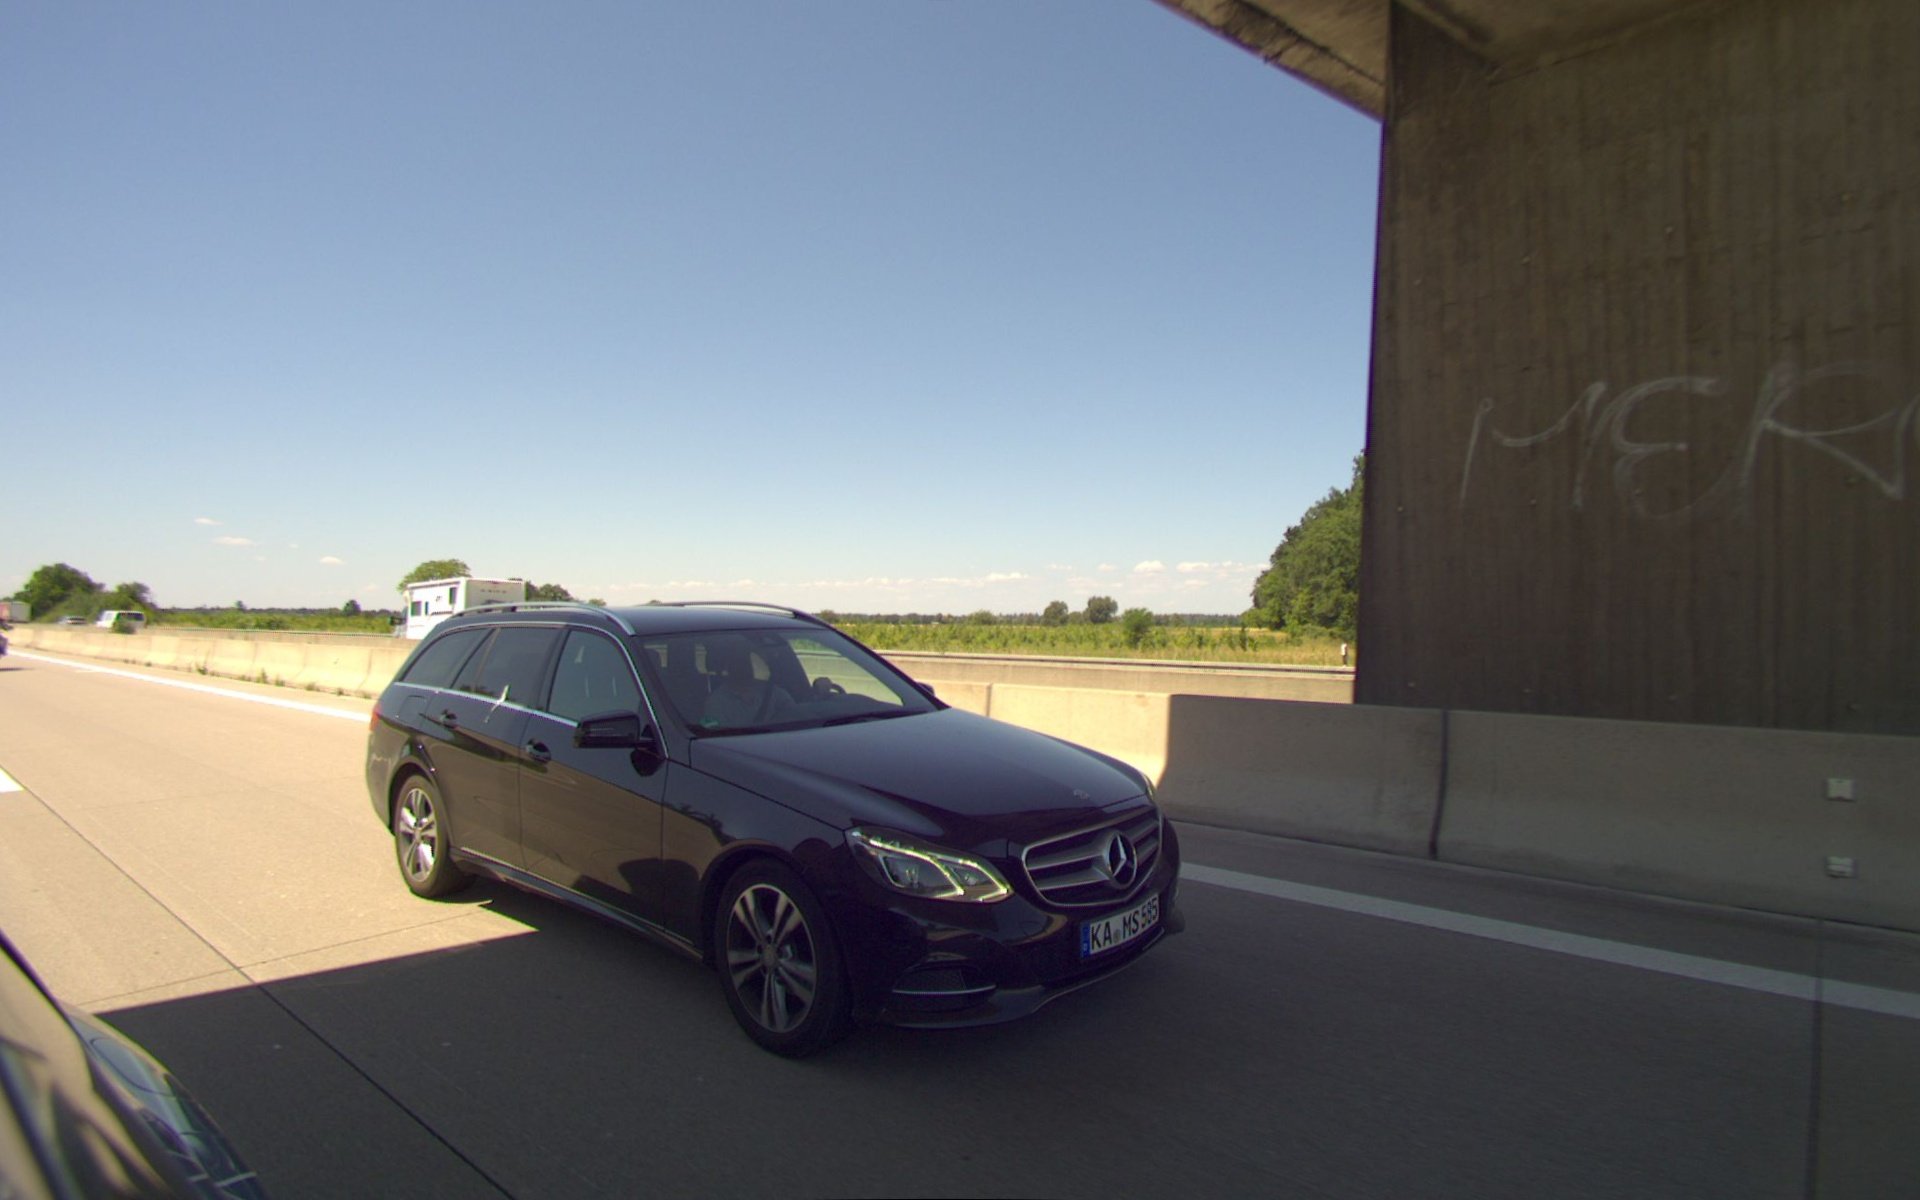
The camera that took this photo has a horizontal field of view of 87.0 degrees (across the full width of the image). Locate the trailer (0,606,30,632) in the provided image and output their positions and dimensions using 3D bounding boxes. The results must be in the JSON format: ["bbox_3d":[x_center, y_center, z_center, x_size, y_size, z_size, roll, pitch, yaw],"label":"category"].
[{"bbox_3d":[-153.450,3.170,163.904,12.337,4.013,2.968,-2,-2,42],"label":"trailer"}]

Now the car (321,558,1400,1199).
[{"bbox_3d":[-1.094,0.709,4.876,5.601,1.484,1.871,-1,-2,41],"label":"car"}]

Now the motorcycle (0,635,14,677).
[{"bbox_3d":[-25.923,1.488,26.824,2.411,1.056,1.010,-1,-1,41],"label":"motorcycle"}]

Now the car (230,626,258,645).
[{"bbox_3d":[-62.735,3.075,88.629,3.102,1.595,1.383,-1,-1,42],"label":"car"}]

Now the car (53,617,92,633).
[{"bbox_3d":[-84.770,2.407,96.634,6.132,1.508,2.044,-1,-2,41],"label":"car"}]

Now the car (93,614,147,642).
[{"bbox_3d":[-54.376,1.811,65.479,5.790,1.731,1.807,-1,-2,41],"label":"car"}]

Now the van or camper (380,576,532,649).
[{"bbox_3d":[-18.808,0.472,37.493,7.798,2.462,2.225,-1,0,41],"label":"van or camper"}]

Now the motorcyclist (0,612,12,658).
[{"bbox_3d":[-25.788,0.917,26.712,0.911,1.218,1.014,-1,-2,42],"label":"motorcyclist"}]
